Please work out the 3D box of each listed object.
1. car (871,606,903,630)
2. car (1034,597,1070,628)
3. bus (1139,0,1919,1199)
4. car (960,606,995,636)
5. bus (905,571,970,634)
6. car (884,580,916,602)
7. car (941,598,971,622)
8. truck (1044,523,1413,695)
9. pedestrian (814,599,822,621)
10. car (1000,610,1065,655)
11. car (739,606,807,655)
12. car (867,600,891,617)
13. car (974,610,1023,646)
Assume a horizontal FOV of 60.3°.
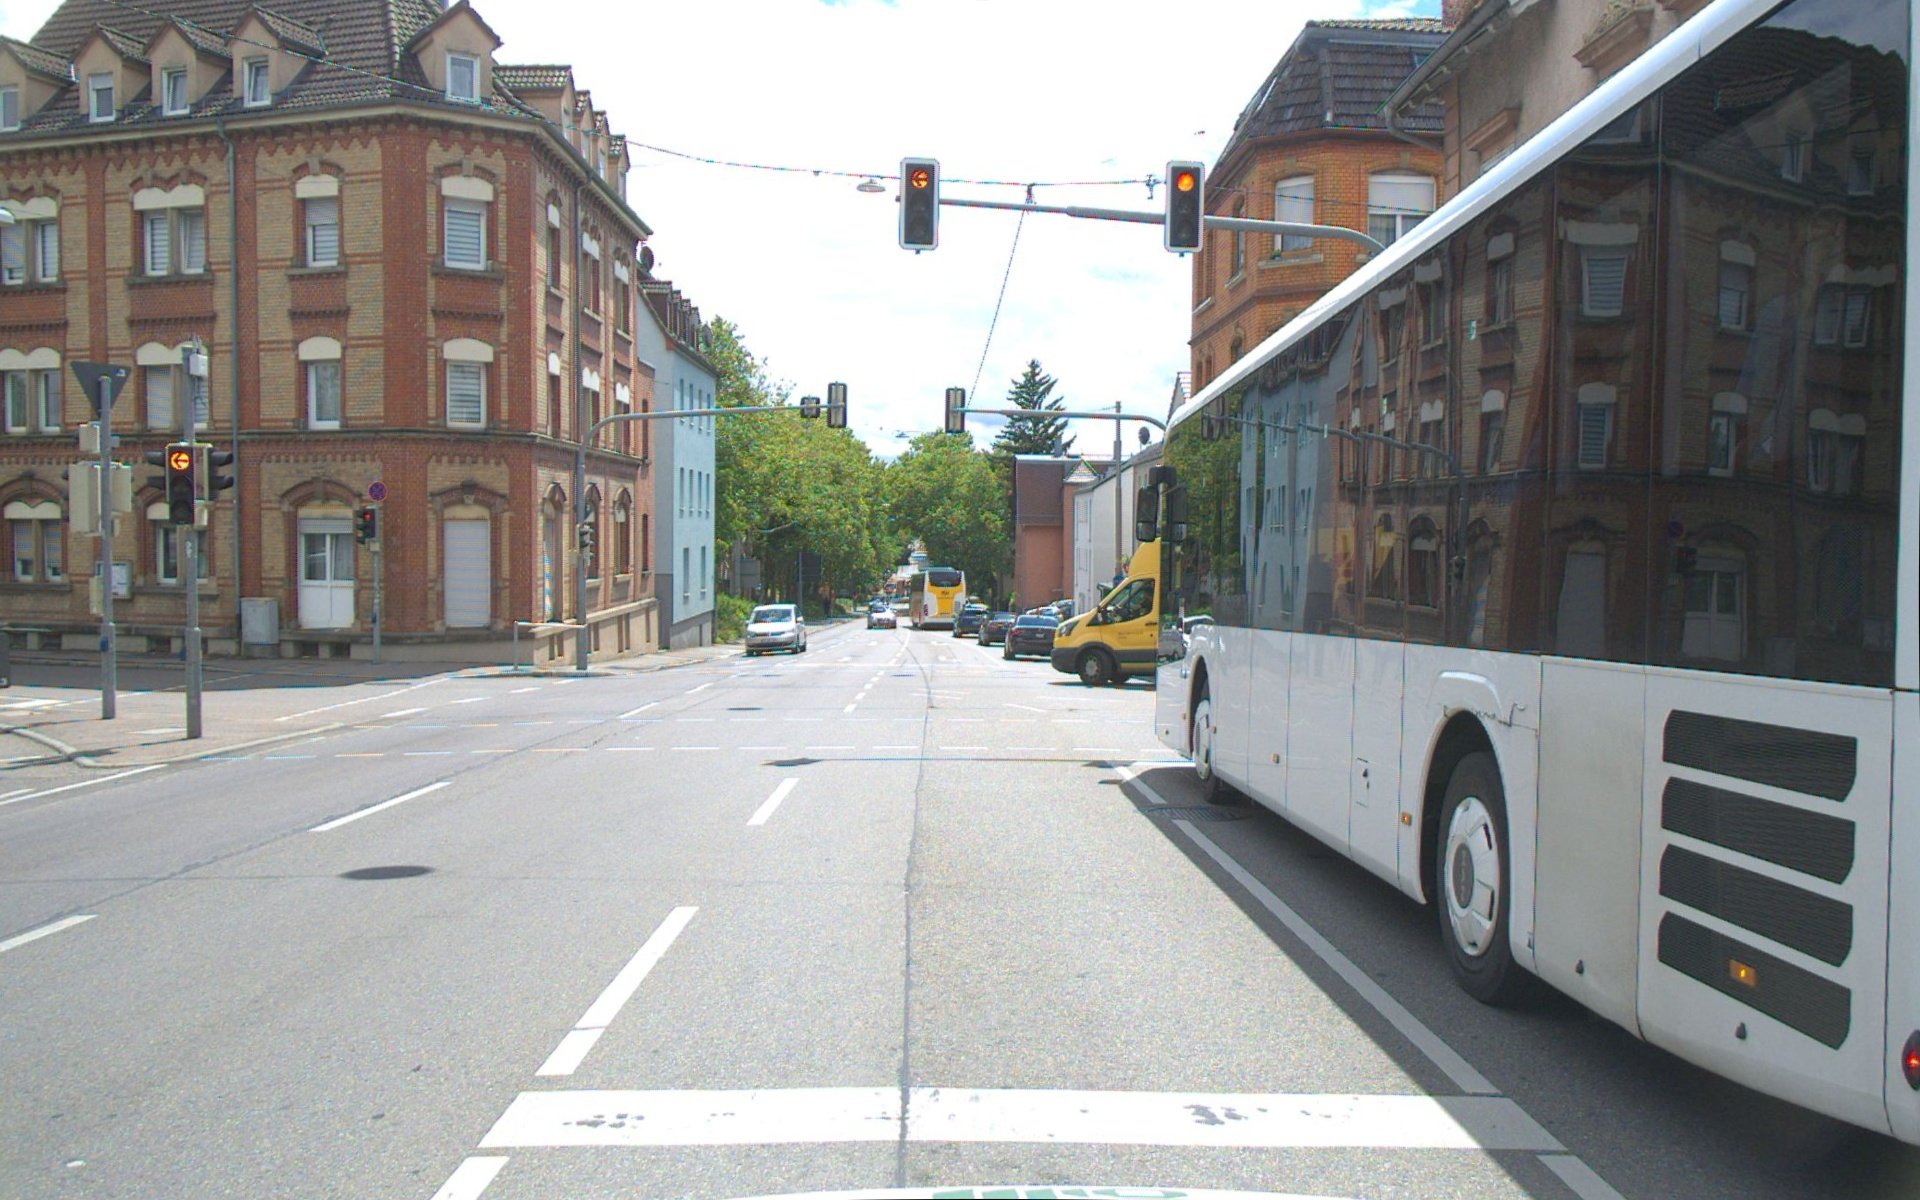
[{"bbox_3d":[-4.528,1.119,103.192,1.827,1.391,4.546,0,0,-1],"label":"car"},{"bbox_3d":[5.173,0.660,93.282,1.731,1.695,3.999,0,0,-1],"label":"car"},{"bbox_3d":[3.223,-0.228,9.317,2.845,3.571,12.484,1,0,-1],"label":"bus"},{"bbox_3d":[0.805,1.005,79.883,1.576,1.400,3.999,0,0,-1],"label":"car"},{"bbox_3d":[-1.500,0.145,102.905,3.236,3.694,11.232,-1,0,-5],"label":"bus"},{"bbox_3d":[-8.835,-1.378,243.166,2.101,3.124,5.615,1,0,30],"label":"car"},{"bbox_3d":[-0.328,0.767,129.235,2.050,1.862,4.139,0,0,-4],"label":"car"},{"bbox_3d":[5.012,0.119,30.695,6.414,2.964,2.550,1,0,18],"label":"truck"},{"bbox_3d":[-11.708,0.825,136.654,0.594,1.789,0.653,0,0,-2],"label":"pedestrian"},{"bbox_3d":[2.220,0.976,51.369,1.761,1.298,3.999,-1,0,-1],"label":"car"},{"bbox_3d":[-6.388,1.015,57.033,1.896,1.591,4.388,0,0,-1],"label":"car"},{"bbox_3d":[-7.857,0.803,161.438,2.162,1.641,4.546,0,0,-1],"label":"car"},{"bbox_3d":[1.555,1.117,68.492,1.827,1.391,4.546,0,0,-1],"label":"car"}]
